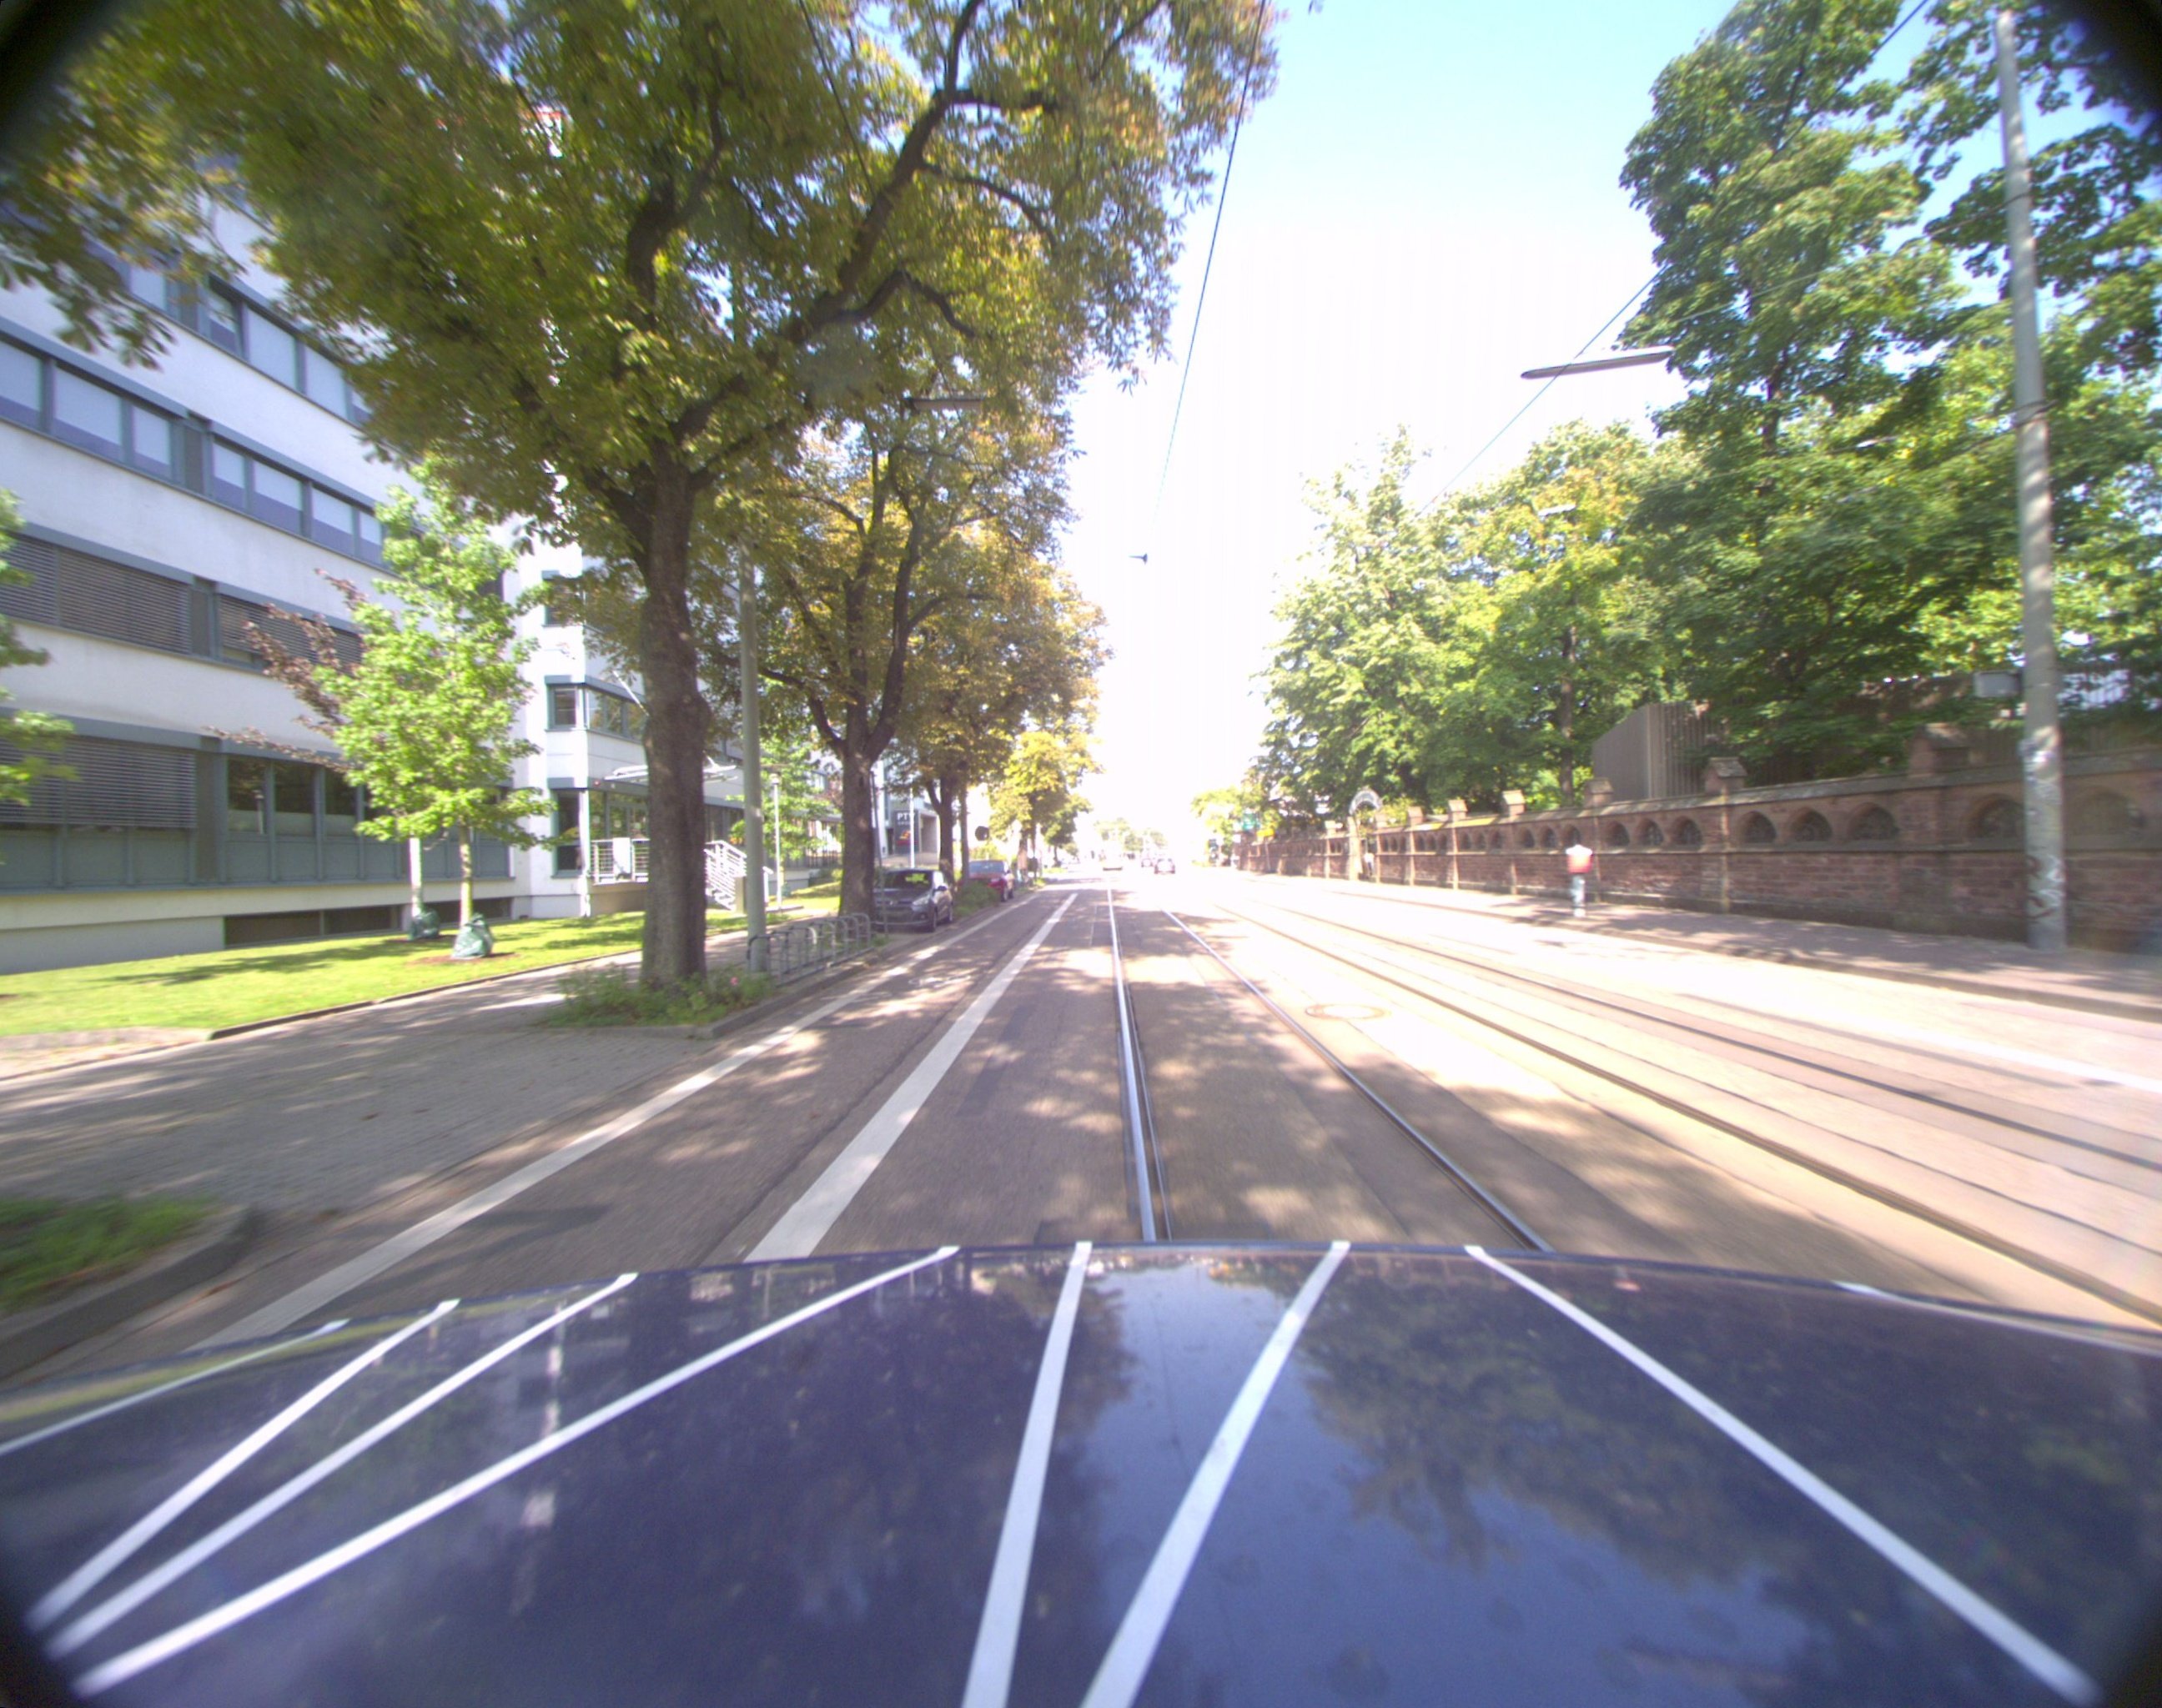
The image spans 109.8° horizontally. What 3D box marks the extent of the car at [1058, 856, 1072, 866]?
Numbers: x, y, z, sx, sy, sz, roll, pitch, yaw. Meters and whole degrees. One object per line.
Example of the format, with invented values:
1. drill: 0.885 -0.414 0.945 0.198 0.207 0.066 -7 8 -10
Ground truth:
1. car: -2.673 1.183 126.995 1.755 1.597 4.001 -2 0 5

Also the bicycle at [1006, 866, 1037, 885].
1. bicycle: -3.262 1.195 41.723 1.621 1.009 0.382 -1 1 -1

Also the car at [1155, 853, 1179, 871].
1. car: 7.223 0.686 64.258 1.694 1.433 4.000 -1 0 2

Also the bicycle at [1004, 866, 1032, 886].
1. bicycle: -3.419 1.204 41.250 1.460 1.009 0.382 -1 1 -1

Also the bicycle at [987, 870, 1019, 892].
1. bicycle: -3.615 1.250 35.232 1.460 1.009 0.382 -1 1 -1

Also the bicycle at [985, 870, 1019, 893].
1. bicycle: -3.575 1.249 34.392 1.460 1.009 0.382 -1 1 -1

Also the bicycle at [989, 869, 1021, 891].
1. bicycle: -3.658 1.242 36.562 1.460 1.009 0.382 -1 1 -1

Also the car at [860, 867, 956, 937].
1. car: -4.122 1.100 18.617 1.566 1.433 3.563 1 0 -1

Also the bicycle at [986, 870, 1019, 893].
1. bicycle: -3.596 1.252 34.818 1.460 1.009 0.382 -1 1 -1

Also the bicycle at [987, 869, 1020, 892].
1. bicycle: -3.625 1.247 35.660 1.460 1.009 0.382 -1 1 -1

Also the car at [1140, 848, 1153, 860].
1. car: 9.511 0.018 110.476 1.754 1.718 4.001 -2 1 5

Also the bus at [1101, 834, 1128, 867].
1. bus: 4.275 -0.451 94.577 2.900 3.771 9.320 -2 1 4

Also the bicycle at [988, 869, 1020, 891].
1. bicycle: -3.639 1.244 36.111 1.460 1.009 0.382 -1 1 -1

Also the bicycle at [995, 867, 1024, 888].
1. bicycle: -3.696 1.226 39.515 1.460 1.009 0.382 -1 1 -1

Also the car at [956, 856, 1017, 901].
1. car: -3.737 0.944 30.755 1.866 1.643 4.183 0 0 1
